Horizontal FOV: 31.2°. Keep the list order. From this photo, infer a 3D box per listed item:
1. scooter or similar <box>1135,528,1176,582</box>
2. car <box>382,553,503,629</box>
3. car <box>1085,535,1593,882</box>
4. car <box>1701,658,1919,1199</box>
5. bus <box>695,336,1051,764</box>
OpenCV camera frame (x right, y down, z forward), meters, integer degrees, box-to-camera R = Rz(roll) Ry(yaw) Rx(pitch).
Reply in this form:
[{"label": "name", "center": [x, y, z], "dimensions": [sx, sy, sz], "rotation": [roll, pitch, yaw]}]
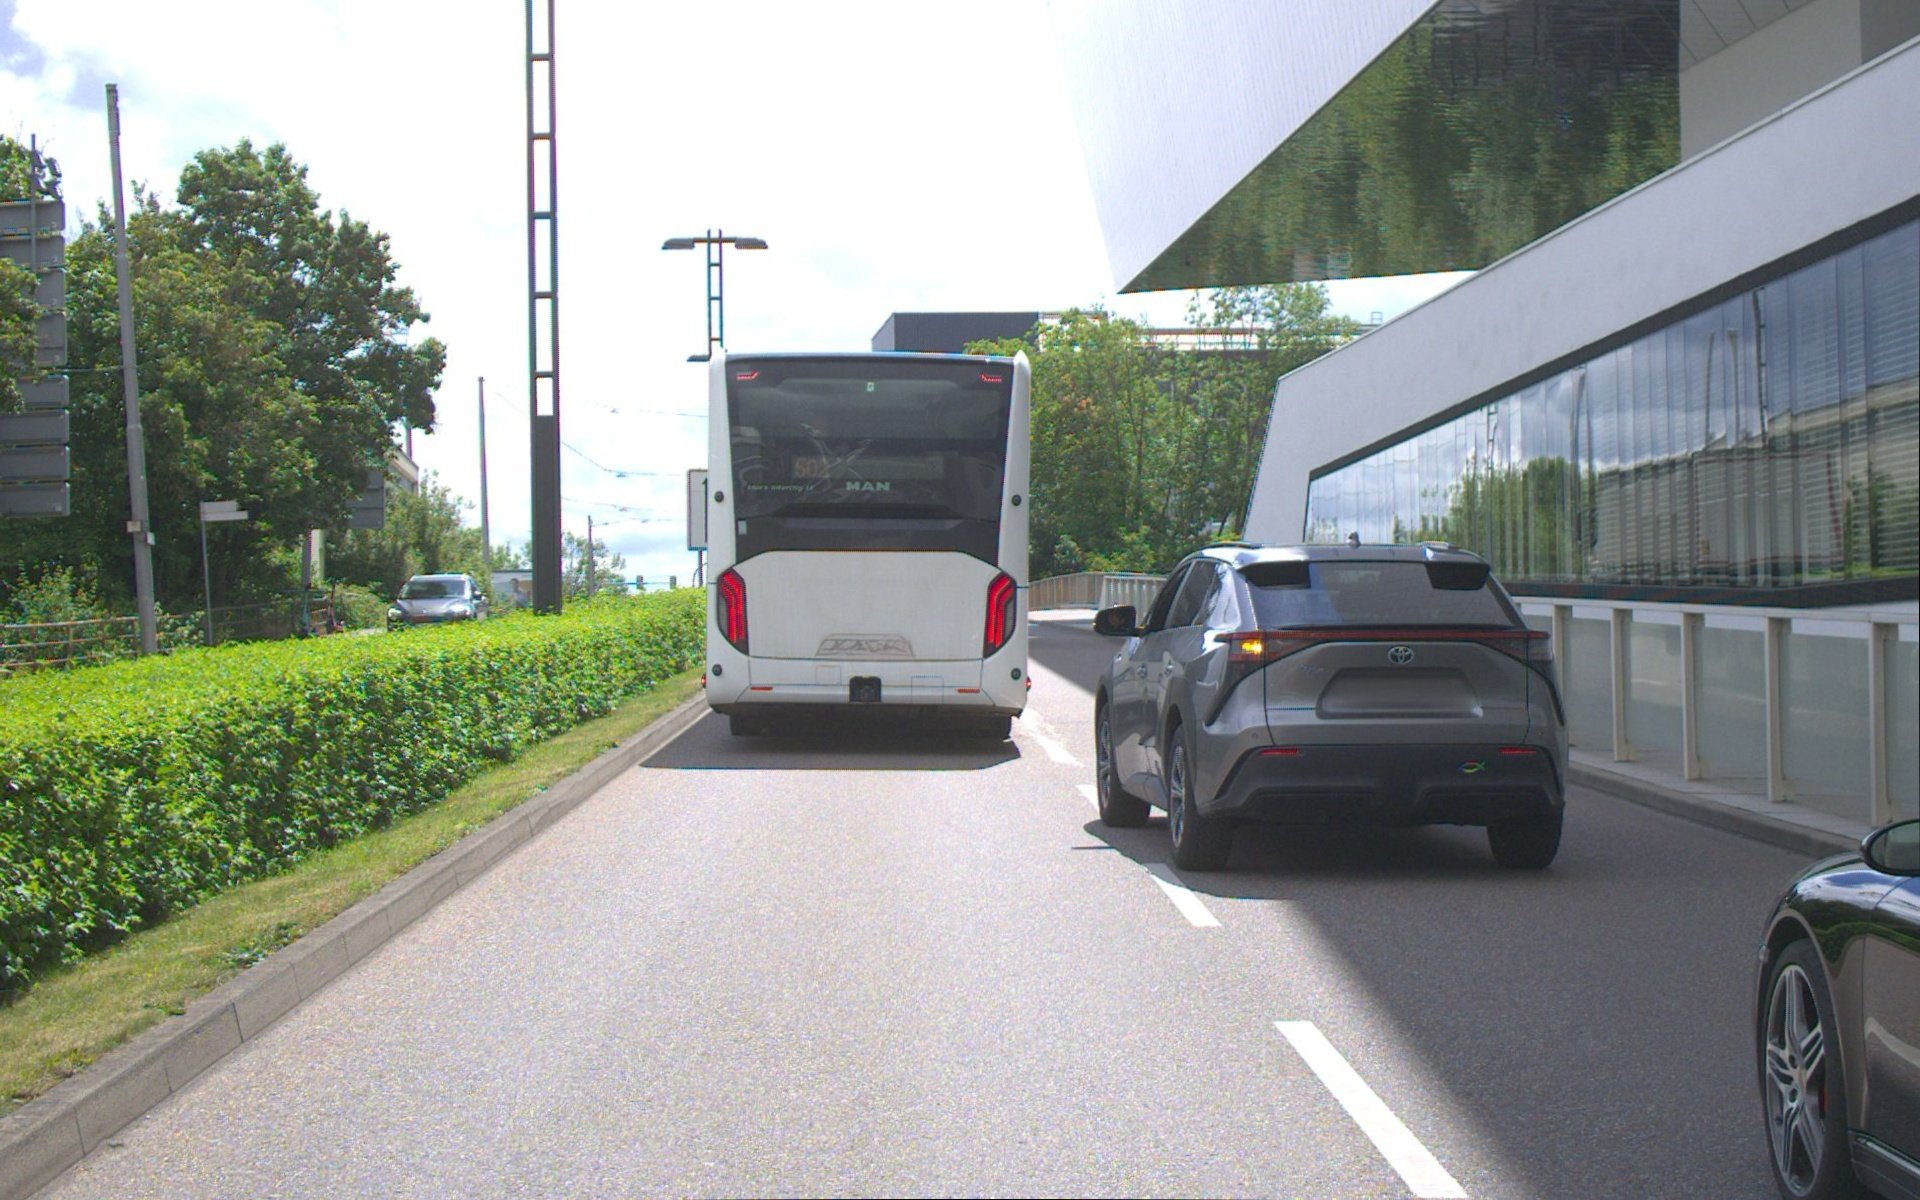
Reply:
[{"label": "scooter or similar", "center": [4.518, -1.039, 79.558], "dimensions": [0.653, 1.210, 1.858], "rotation": [-2, 0, -5]}, {"label": "car", "center": [-10.885, -0.215, 72.606], "dimensions": [1.840, 1.502, 4.561], "rotation": [-1, 1, 0]}, {"label": "car", "center": [1.831, 0.498, 17.974], "dimensions": [1.879, 1.588, 4.230], "rotation": [0, 0, -4]}, {"label": "car", "center": [2.745, 0.788, 6.440], "dimensions": [1.719, 1.271, 4.088], "rotation": [0, 0, -2]}, {"label": "bus", "center": [-0.789, -0.520, 32.327], "dimensions": [2.689, 3.244, 12.058], "rotation": [1, 1, -1]}]
